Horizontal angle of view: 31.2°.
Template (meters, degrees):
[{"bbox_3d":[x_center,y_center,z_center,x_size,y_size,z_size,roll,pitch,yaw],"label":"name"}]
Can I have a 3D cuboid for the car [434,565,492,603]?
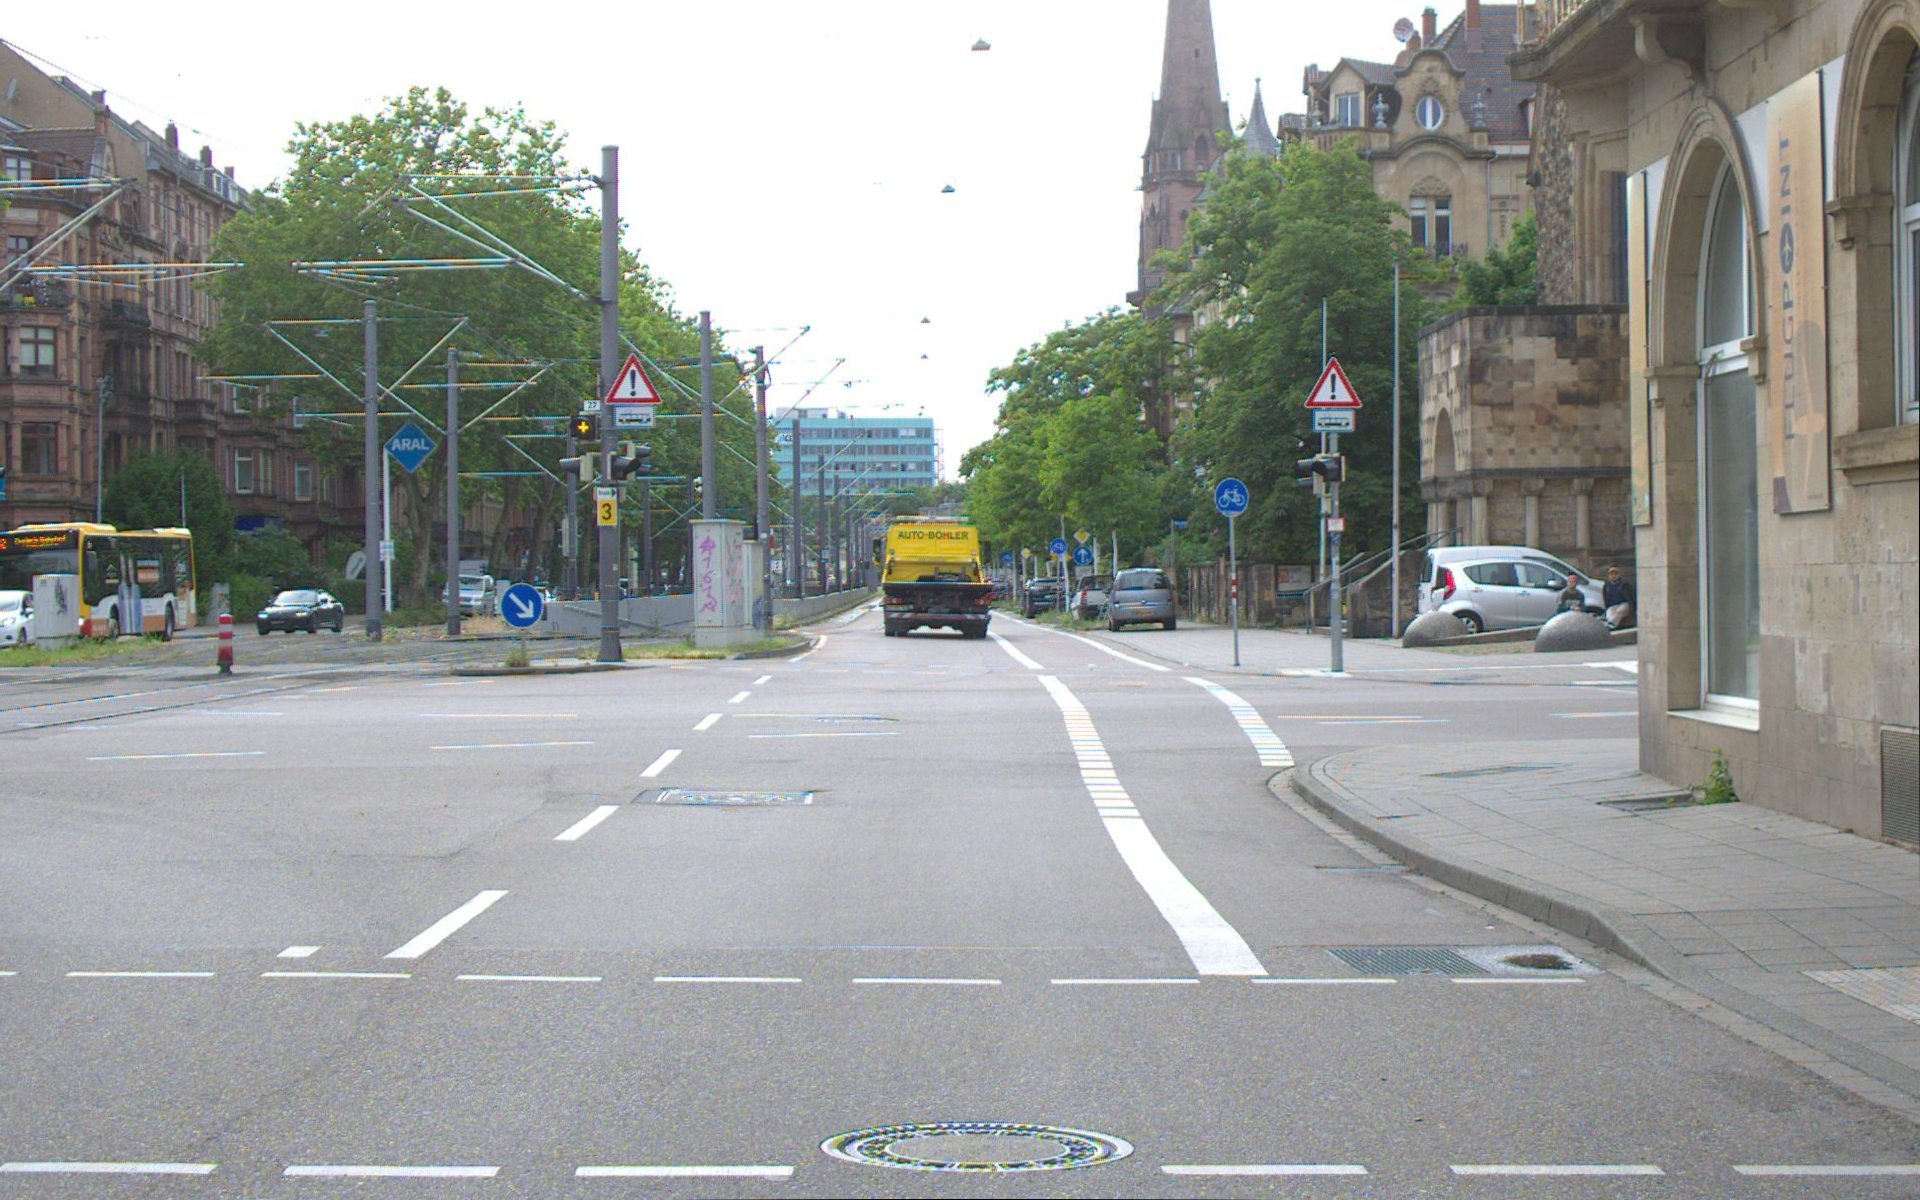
[{"bbox_3d":[-21.562,-0.690,149.308,1.993,1.605,4.000,1,1,-1],"label":"car"}]

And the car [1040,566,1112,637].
[{"bbox_3d":[3.343,0.027,99.656,1.993,2.007,4.000,1,1,1],"label":"car"}]

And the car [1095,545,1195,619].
[{"bbox_3d":[4.867,-0.476,89.986,1.994,1.849,4.024,1,1,12],"label":"car"}]

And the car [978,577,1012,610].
[{"bbox_3d":[2.188,-0.413,216.838,1.993,2.007,4.000,1,1,-1],"label":"car"}]

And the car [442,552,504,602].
[{"bbox_3d":[-20.031,-0.950,141.445,1.993,2.007,4.000,1,1,-1],"label":"car"}]

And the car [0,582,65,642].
[{"bbox_3d":[-21.911,0.256,79.046,1.656,1.316,3.638,1,1,1],"label":"car"}]

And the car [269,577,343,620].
[{"bbox_3d":[-21.230,-0.058,111.712,1.656,1.316,3.638,1,1,1],"label":"car"}]

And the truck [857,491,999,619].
[{"bbox_3d":[-0.807,-1.033,79.542,3.055,2.759,9.816,0,1,-1],"label":"truck"}]

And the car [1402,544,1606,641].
[{"bbox_3d":[10.793,-0.164,68.406,3.713,1.849,2.000,1,0,0],"label":"car"}]

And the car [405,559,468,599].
[{"bbox_3d":[-21.540,-0.885,141.521,1.993,1.605,4.000,1,1,-1],"label":"car"}]

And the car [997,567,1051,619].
[{"bbox_3d":[2.534,-0.283,136.098,1.993,2.007,4.000,1,1,-1],"label":"car"}]

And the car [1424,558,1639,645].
[{"bbox_3d":[10.764,0.014,64.964,3.713,1.558,2.000,1,0,0],"label":"car"}]

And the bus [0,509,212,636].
[{"bbox_3d":[-22.478,-0.734,89.095,3.231,3.025,12.311,1,1,1],"label":"bus"}]
